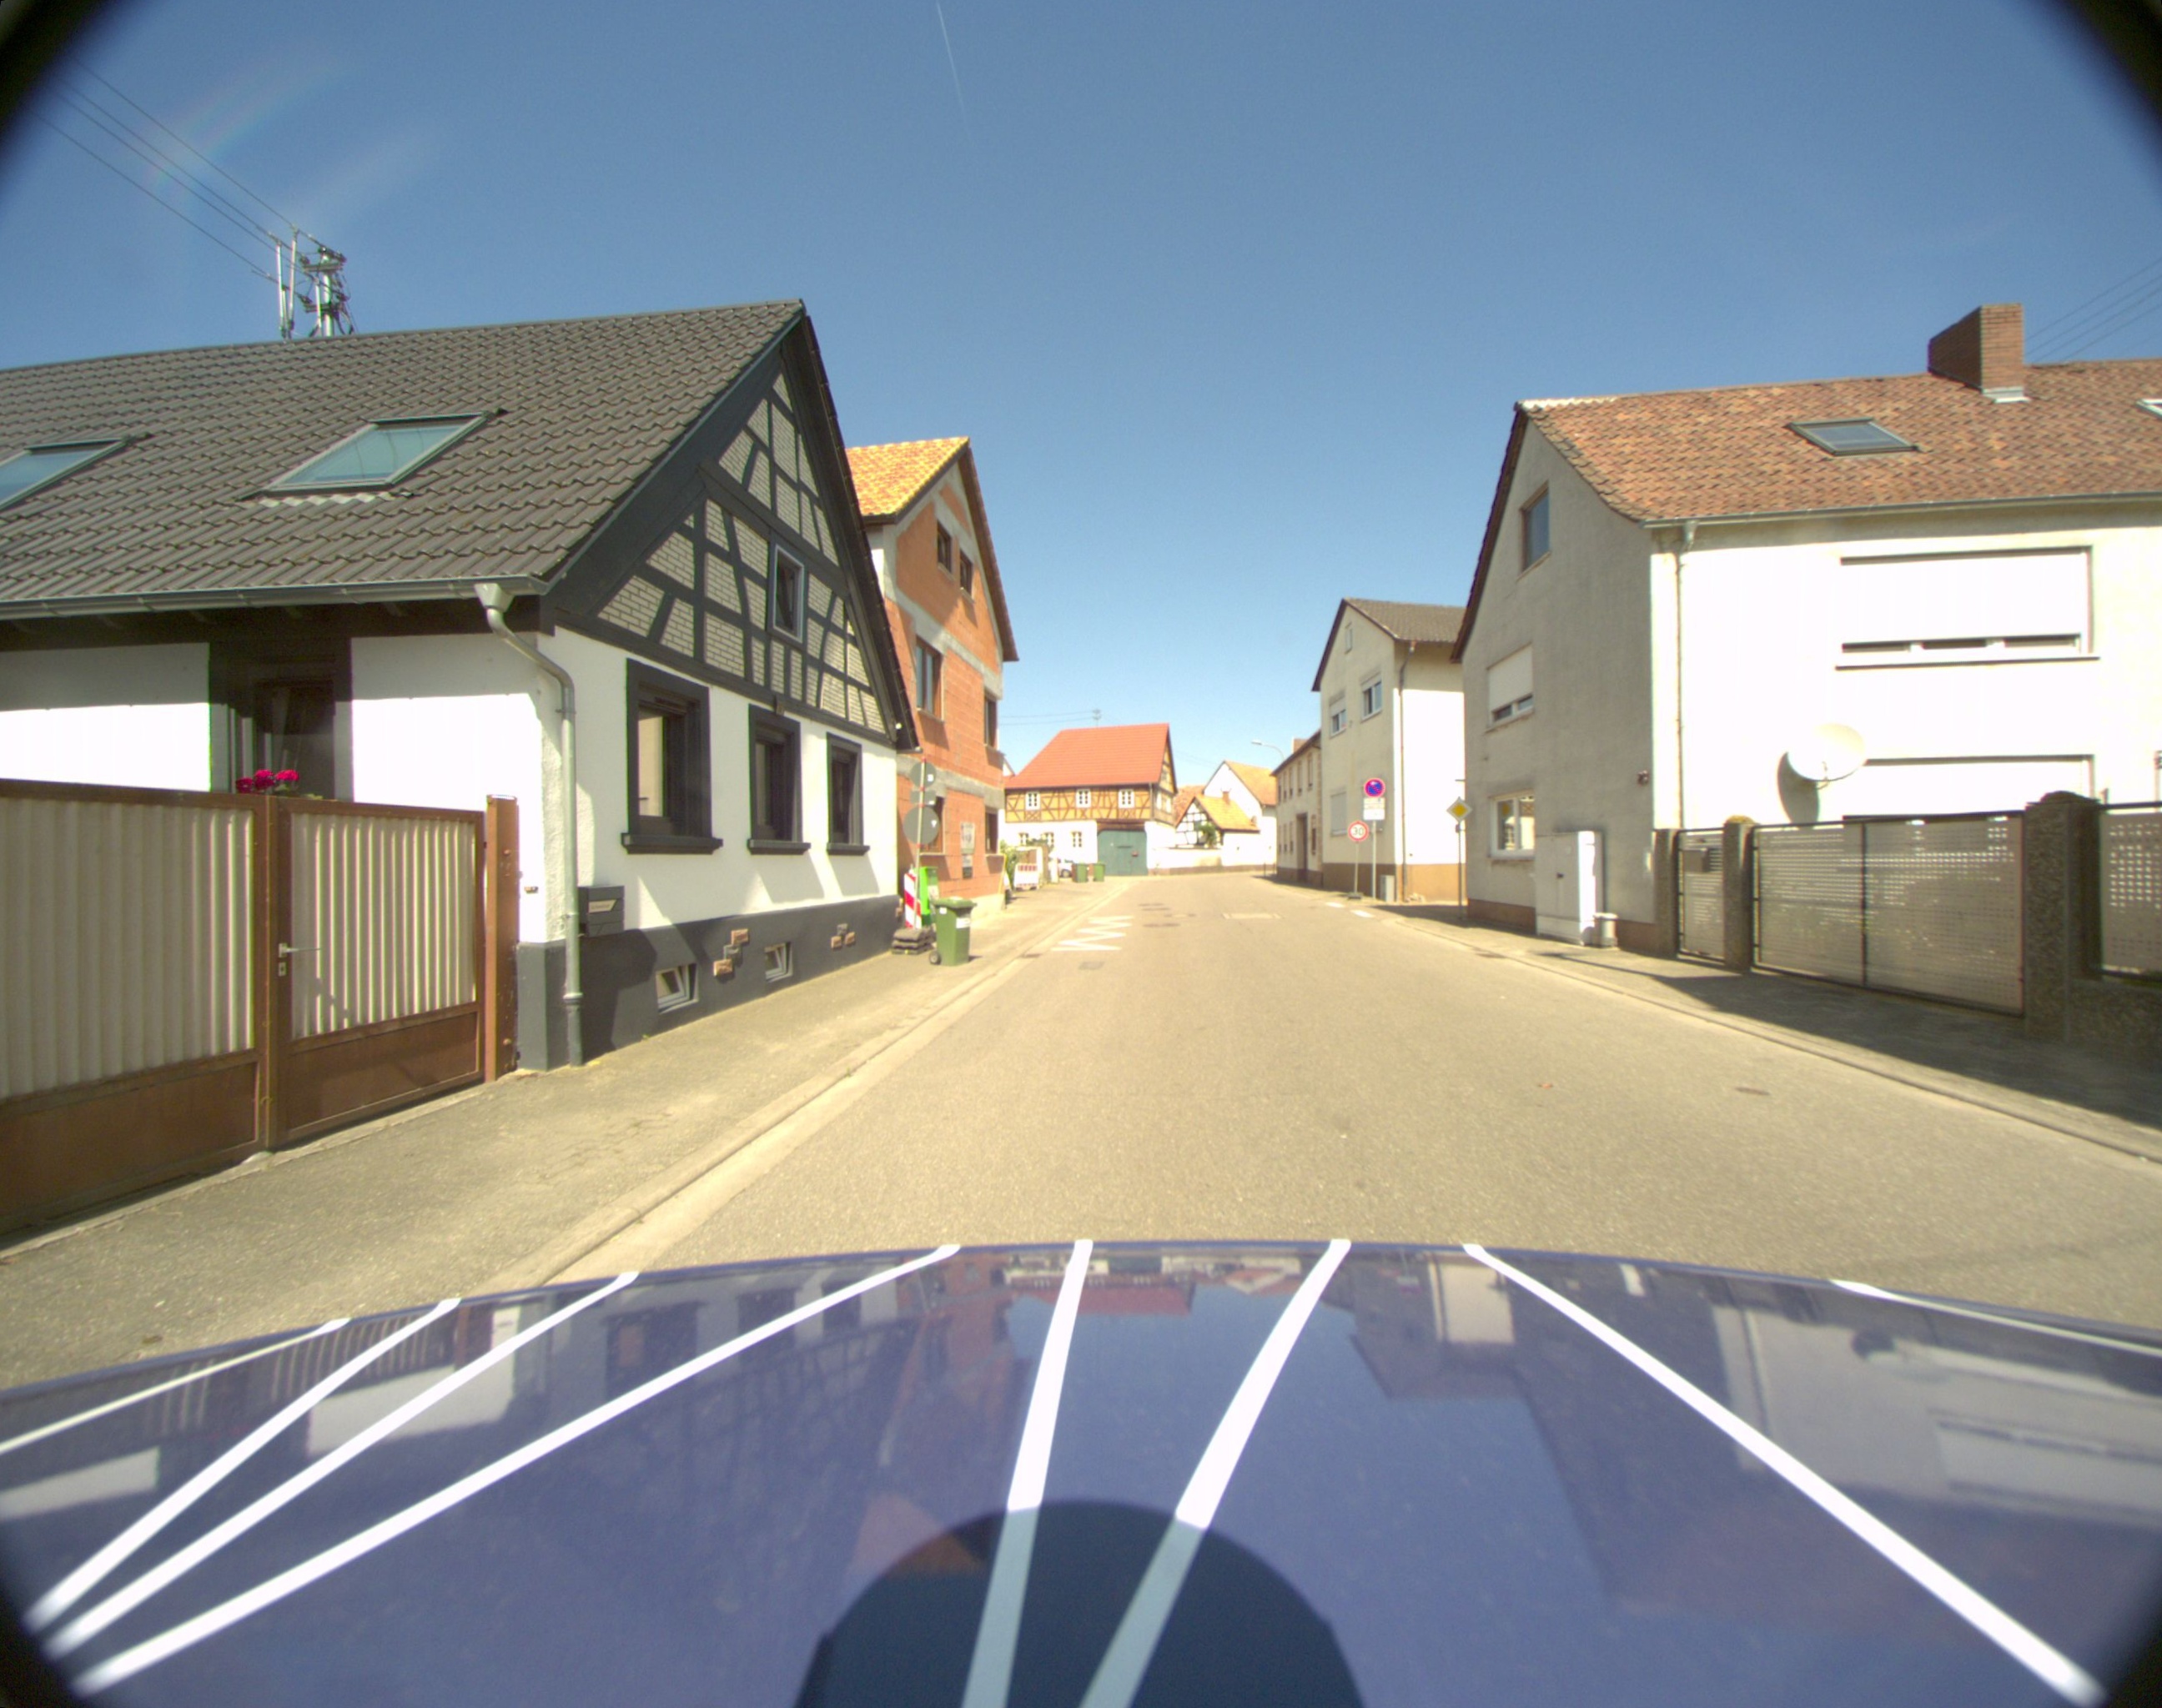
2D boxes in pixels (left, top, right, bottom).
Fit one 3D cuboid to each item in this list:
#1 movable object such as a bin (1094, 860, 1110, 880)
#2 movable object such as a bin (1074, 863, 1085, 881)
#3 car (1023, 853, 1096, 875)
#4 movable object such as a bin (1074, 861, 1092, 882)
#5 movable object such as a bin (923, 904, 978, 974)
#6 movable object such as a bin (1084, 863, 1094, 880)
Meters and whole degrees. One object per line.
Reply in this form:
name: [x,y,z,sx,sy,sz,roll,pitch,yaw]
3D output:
movable object such as a bin: [1.160,0.866,41.879,0.687,1.086,0.638,0,0,16]
movable object such as a bin: [-0.068,0.949,41.103,0.465,0.965,0.497,0,0,15]
car: [-1.499,0.672,53.229,4.757,1.443,2.003,0,0,18]
movable object such as a bin: [0.097,0.918,39.818,0.763,1.066,0.671,-1,0,-25]
movable object such as a bin: [-1.831,1.181,10.681,0.538,0.908,0.552,0,1,25]
movable object such as a bin: [0.429,0.948,41.084,0.445,0.944,0.463,0,1,16]
